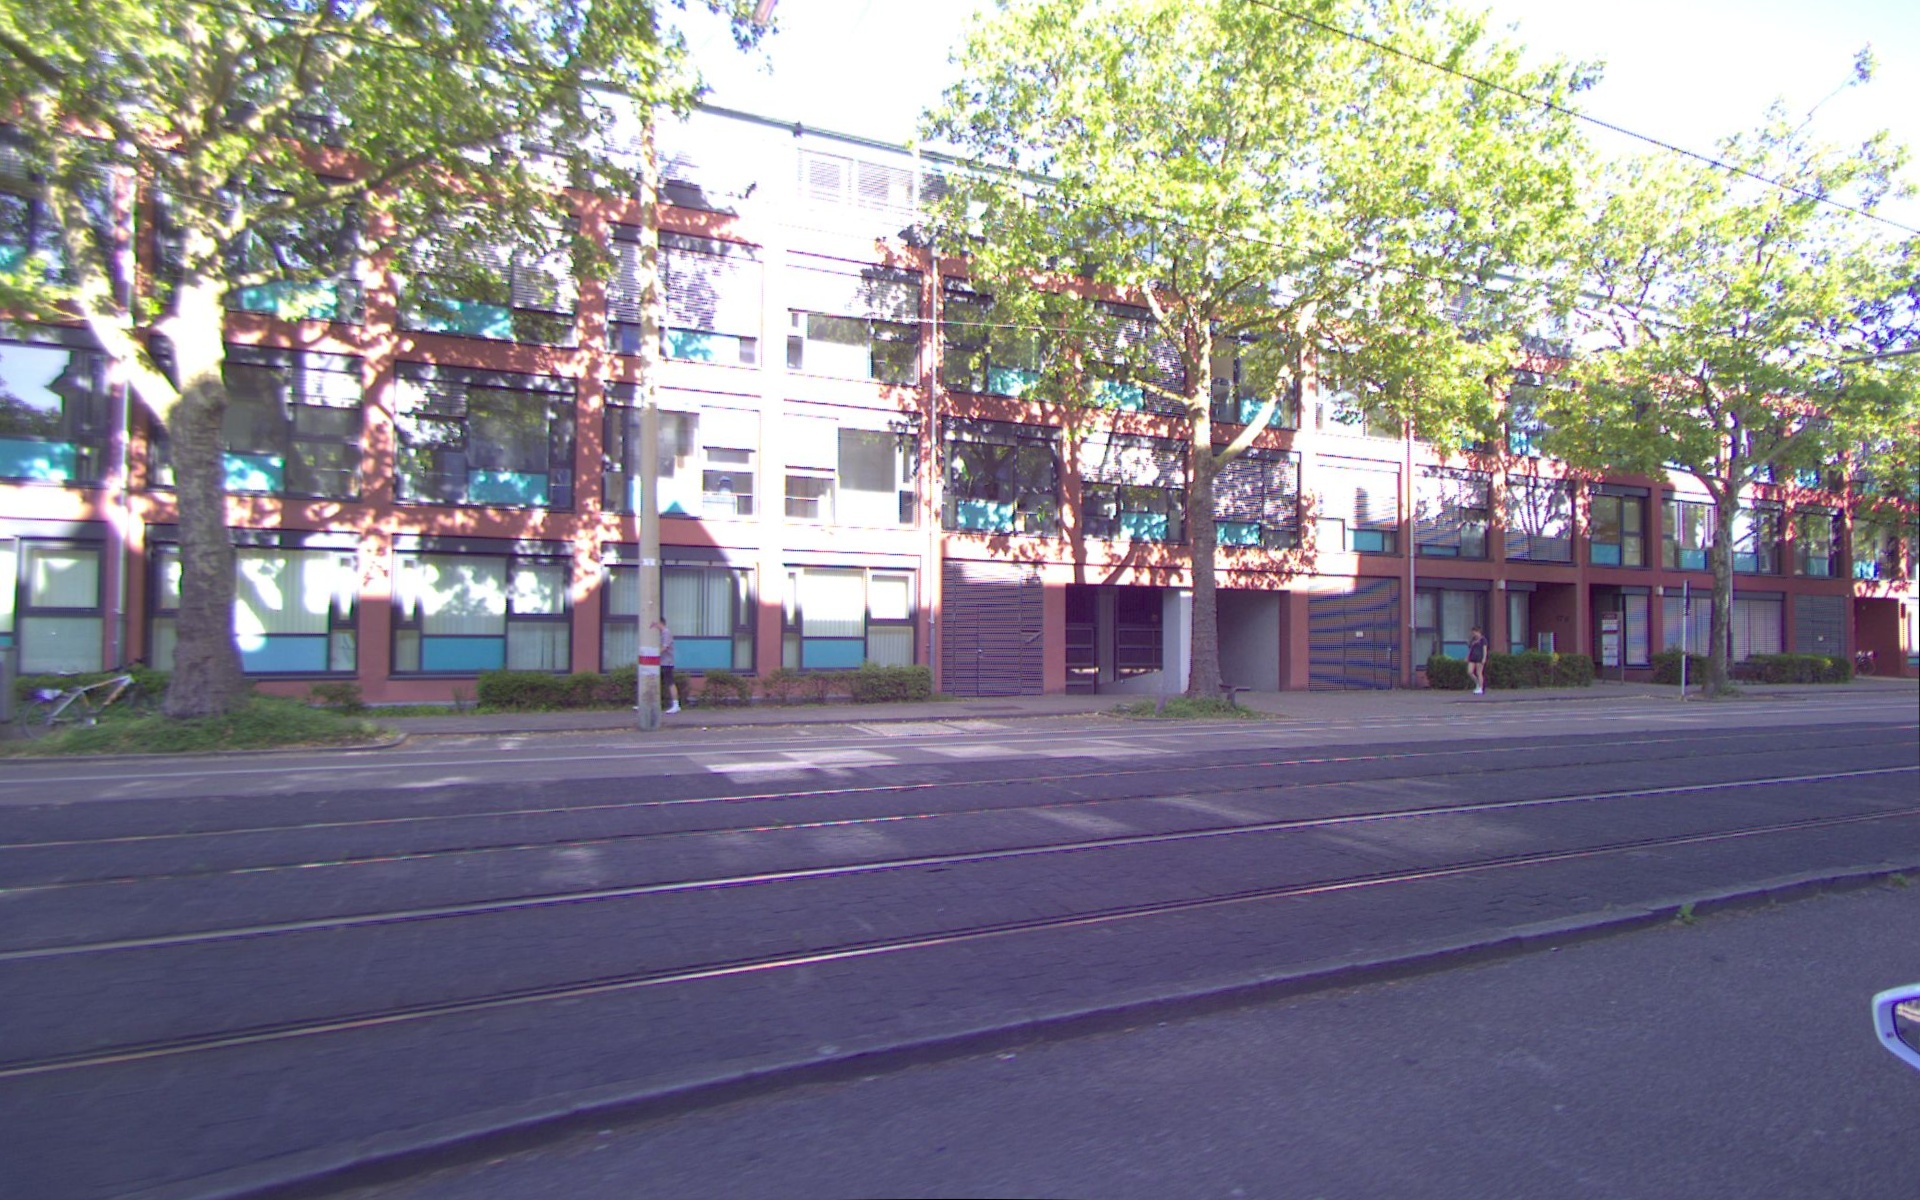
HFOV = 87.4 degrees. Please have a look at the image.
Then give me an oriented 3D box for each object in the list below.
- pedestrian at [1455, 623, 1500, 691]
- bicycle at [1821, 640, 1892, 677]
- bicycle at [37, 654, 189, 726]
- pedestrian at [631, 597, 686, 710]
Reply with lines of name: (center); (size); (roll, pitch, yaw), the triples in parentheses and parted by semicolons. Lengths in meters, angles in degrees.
pedestrian: (13.665, 1.500, 26.543); (0.888, 1.741, 0.623); (0, 0, -24)
bicycle: (35.451, 2.300, 39.769); (0.609, 1.289, 2.059); (0, 1, -20)
bicycle: (-11.662, 1.214, 13.862); (0.515, 0.918, 1.535); (-1, -3, 43)
pedestrian: (-5.625, 0.968, 18.708); (0.772, 2.040, 0.905); (1, 0, -31)
